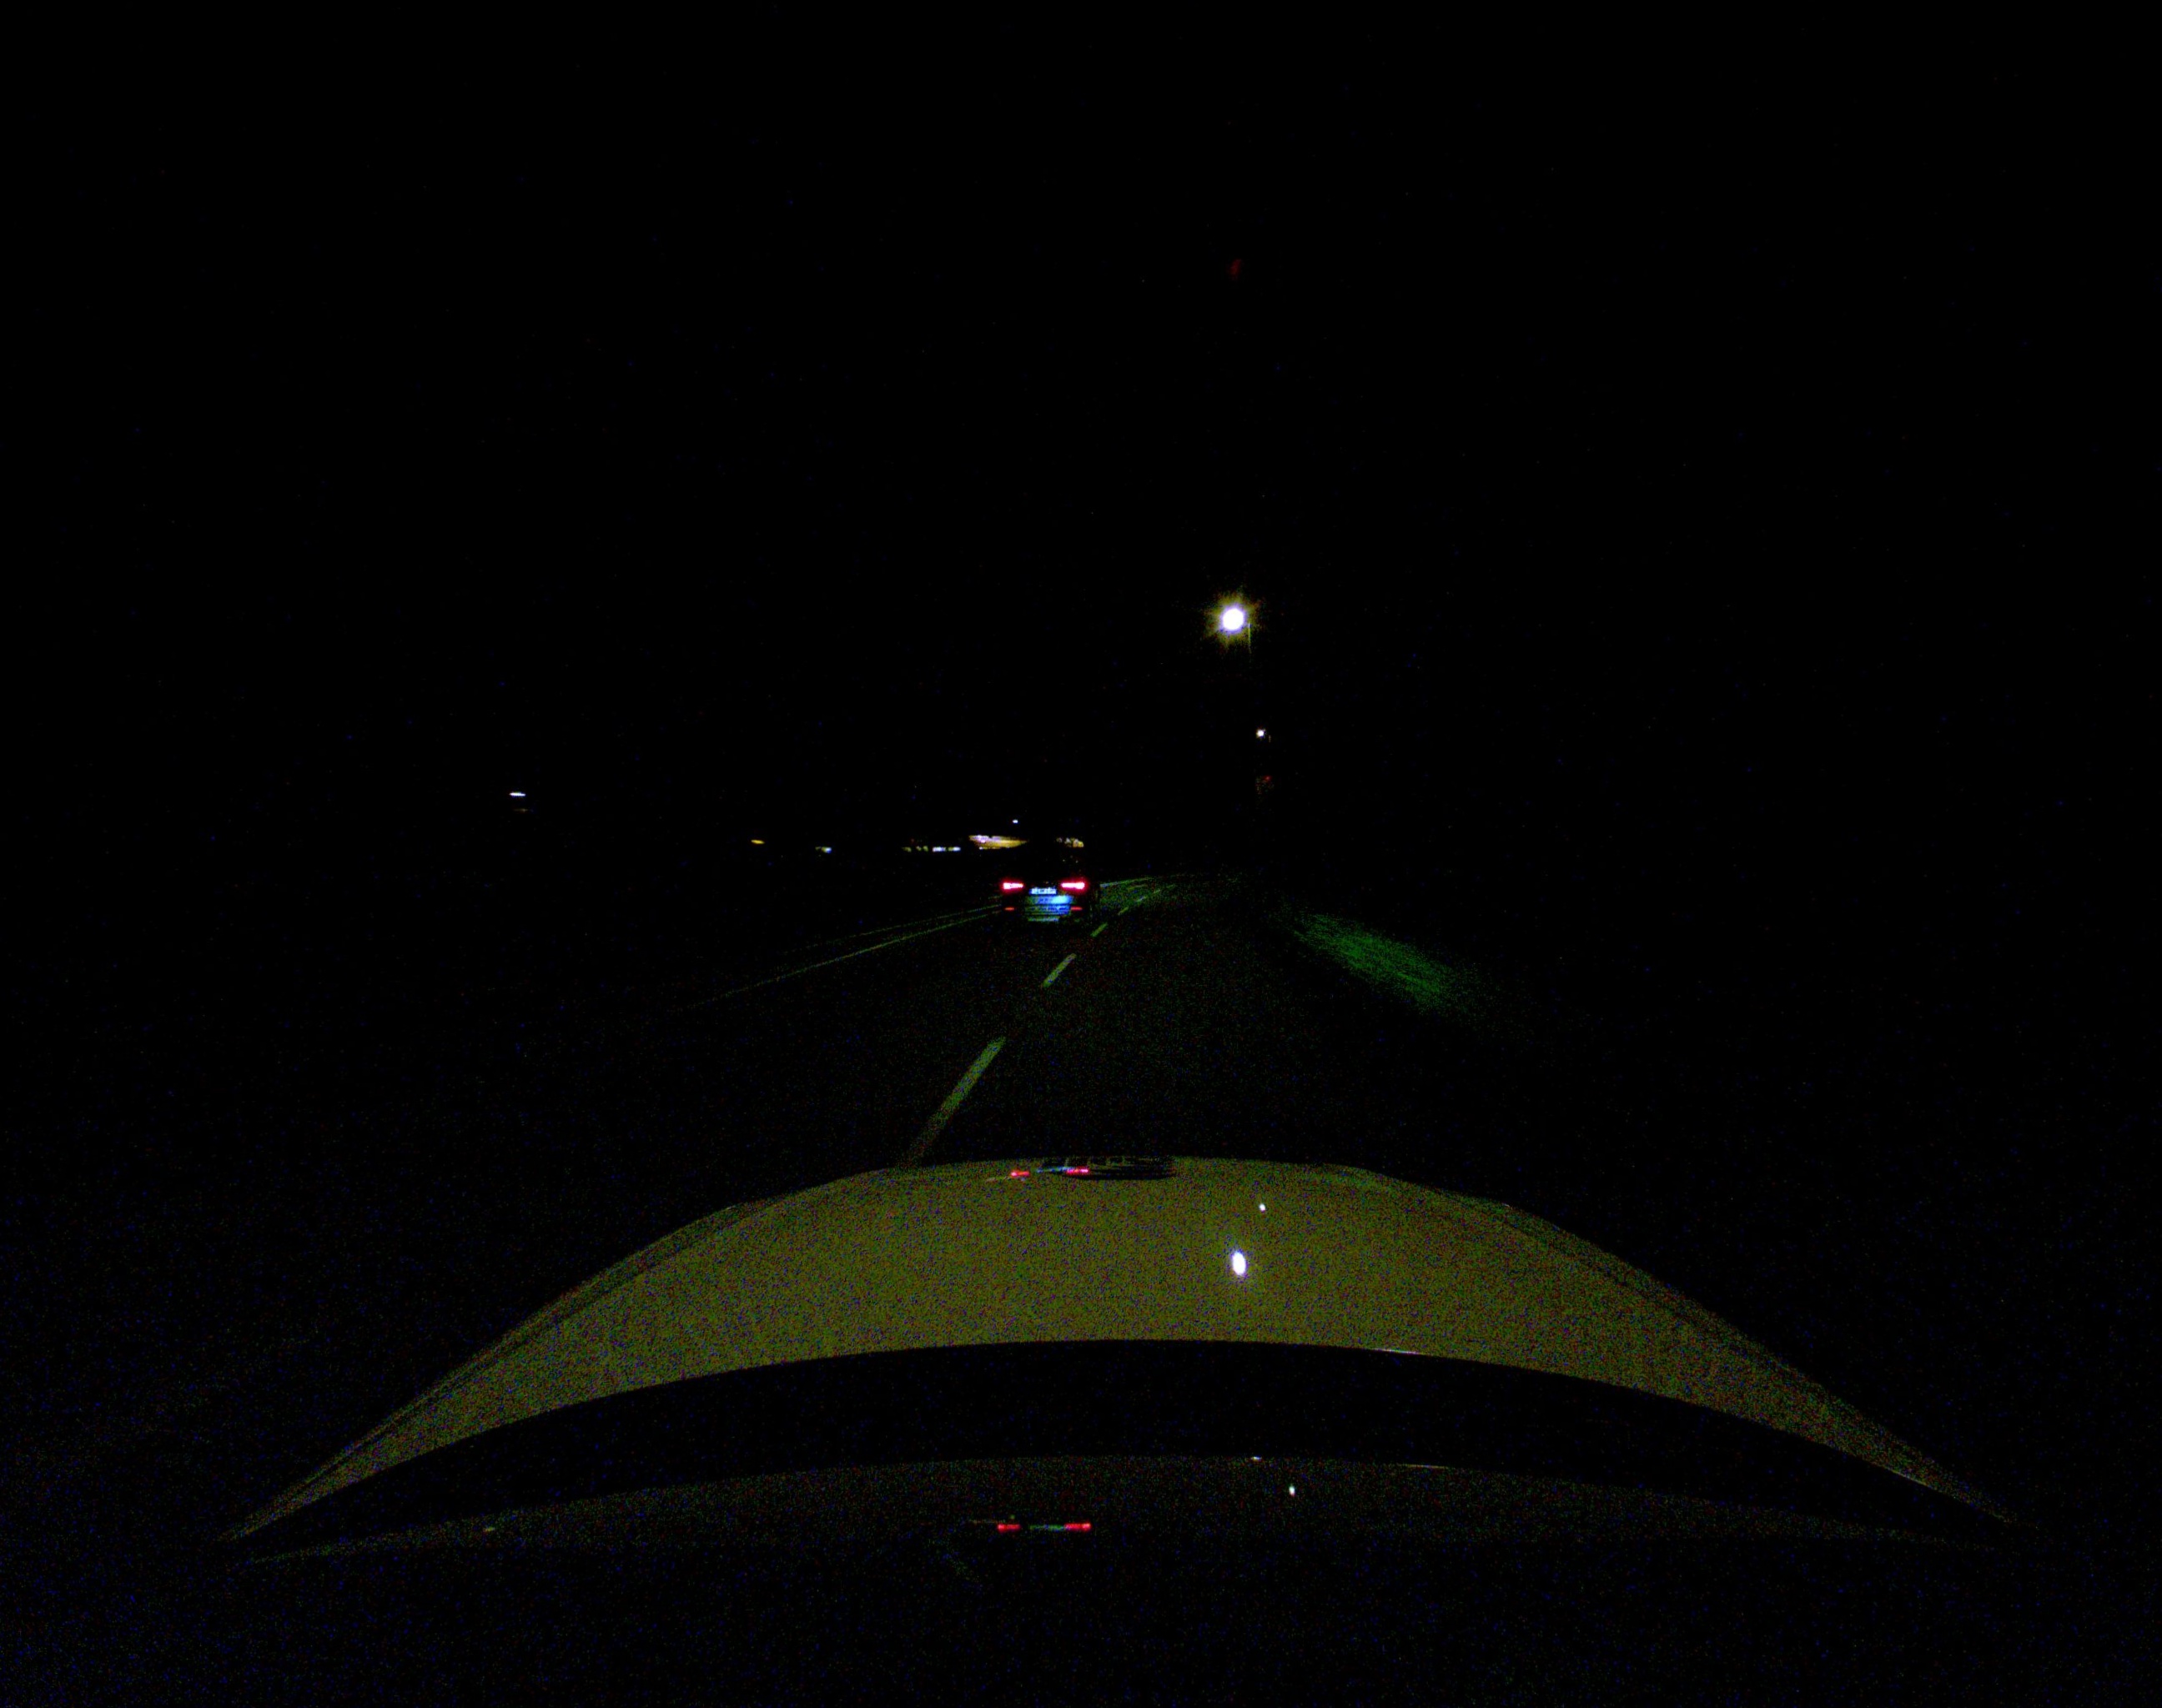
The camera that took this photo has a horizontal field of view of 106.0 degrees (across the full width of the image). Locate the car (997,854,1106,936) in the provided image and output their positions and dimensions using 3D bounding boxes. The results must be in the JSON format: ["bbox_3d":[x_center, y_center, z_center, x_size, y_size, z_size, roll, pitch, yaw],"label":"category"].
[{"bbox_3d":[-0.524,0.795,17.721,1.806,1.573,3.950,-1,0,6],"label":"car"}]
